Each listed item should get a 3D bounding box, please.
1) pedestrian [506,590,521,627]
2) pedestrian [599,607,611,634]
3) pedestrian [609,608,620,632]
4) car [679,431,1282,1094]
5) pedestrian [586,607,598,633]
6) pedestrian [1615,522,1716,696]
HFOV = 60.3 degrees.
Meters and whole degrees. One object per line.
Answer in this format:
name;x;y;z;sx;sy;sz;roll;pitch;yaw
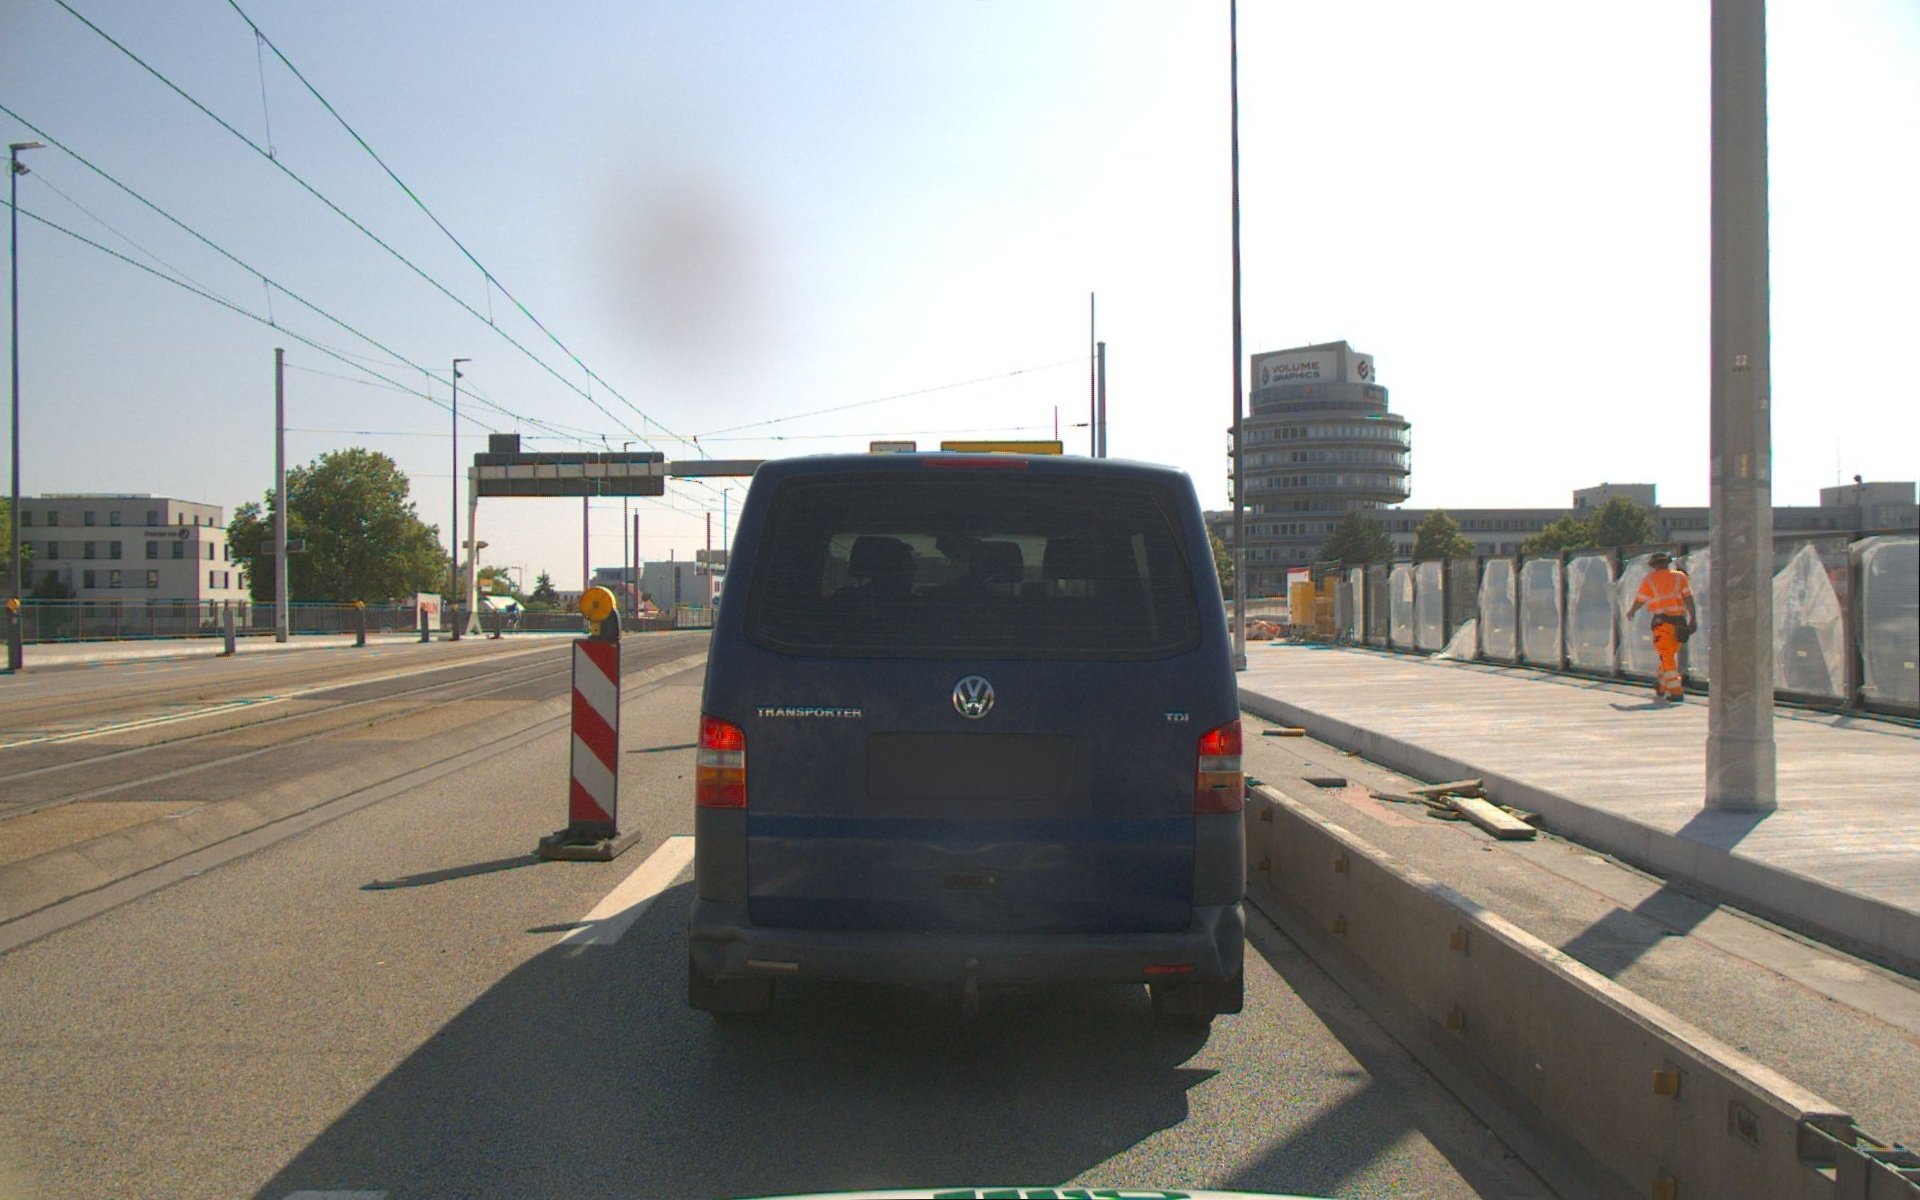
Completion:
pedestrian;-23.714;0.435;87.837;0.621;1.926;0.752;0;0;-1
pedestrian;-24.510;1.408;114.219;0.621;1.805;0.752;0;0;-1
pedestrian;-24.417;1.402;117.020;0.621;1.626;0.752;0;0;-1
car;-0.009;0.460;6.901;1.779;1.939;4.052;0;0;-2
pedestrian;-25.295;1.395;113.646;0.621;1.783;0.752;1;0;-2
pedestrian;8.230;0.104;19.315;0.766;1.969;0.799;-2;-1;-1
